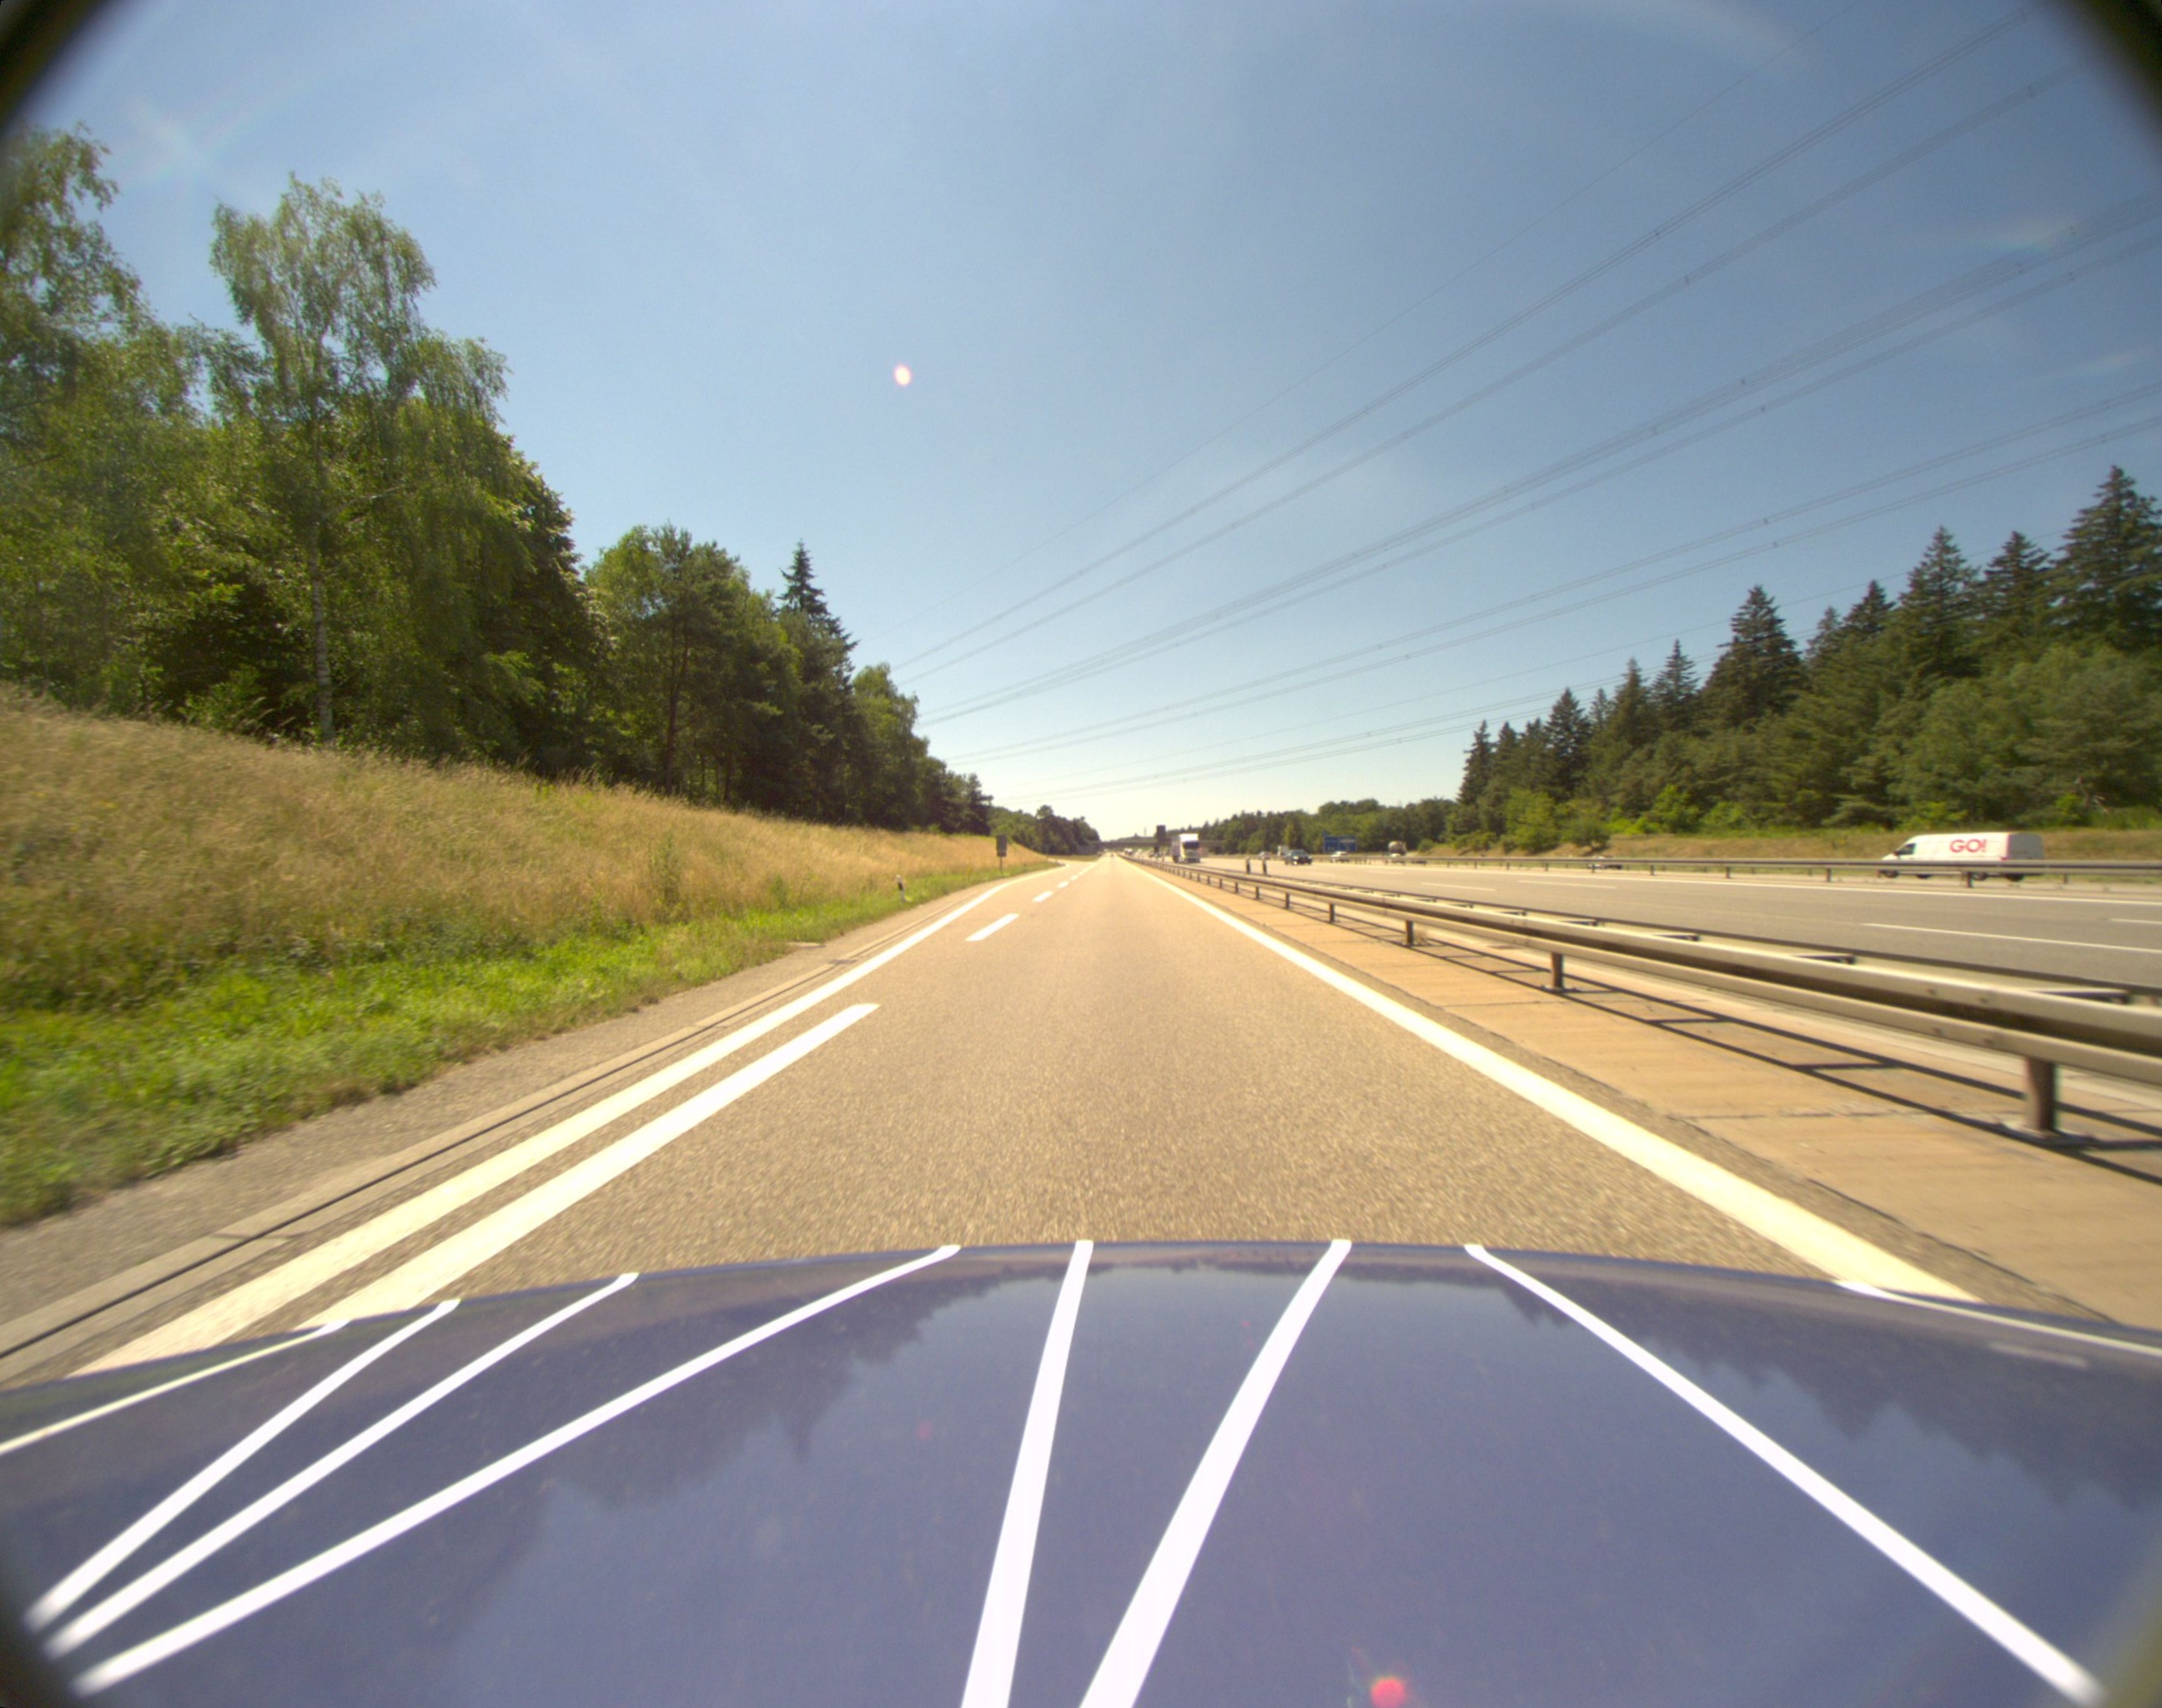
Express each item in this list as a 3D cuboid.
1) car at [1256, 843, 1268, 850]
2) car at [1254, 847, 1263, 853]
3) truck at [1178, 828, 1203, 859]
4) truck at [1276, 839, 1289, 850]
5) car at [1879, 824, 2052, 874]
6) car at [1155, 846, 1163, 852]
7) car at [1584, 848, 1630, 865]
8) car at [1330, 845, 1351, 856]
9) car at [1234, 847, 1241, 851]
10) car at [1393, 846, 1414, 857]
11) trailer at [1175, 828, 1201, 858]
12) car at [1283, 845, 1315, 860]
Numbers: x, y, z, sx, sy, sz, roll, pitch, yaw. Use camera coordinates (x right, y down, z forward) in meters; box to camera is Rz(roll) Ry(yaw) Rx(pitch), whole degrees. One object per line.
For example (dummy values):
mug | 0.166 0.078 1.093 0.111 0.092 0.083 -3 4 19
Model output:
car | 37.871 -1.489 159.188 1.707 1.466 4.061 -1 0 2
car | 50.197 -1.229 215.313 1.707 1.597 4.061 -1 0 2
truck | 15.030 -1.492 104.885 2.979 4.118 5.350 -1 1 4
truck | 54.799 -2.532 206.611 2.532 3.007 5.081 -1 0 2
car | 48.861 -0.282 42.301 2.310 2.500 6.457 -1 0 2
car | 24.969 -1.594 244.229 2.315 2.021 5.404 -2 1 3
car | 51.042 0.246 73.794 1.707 1.597 4.061 -1 0 2
car | 36.722 -0.496 107.505 1.707 1.466 4.061 -1 0 2
car | 52.547 -1.668 255.450 1.707 1.597 4.061 -1 0 2
car | 51.218 -0.422 120.576 1.707 1.597 4.061 -1 0 2
trailer | 15.462 -1.533 110.331 2.981 4.118 11.698 -1 0 4
car | 21.074 -0.154 73.751 1.836 1.423 5.000 -2 0 2
